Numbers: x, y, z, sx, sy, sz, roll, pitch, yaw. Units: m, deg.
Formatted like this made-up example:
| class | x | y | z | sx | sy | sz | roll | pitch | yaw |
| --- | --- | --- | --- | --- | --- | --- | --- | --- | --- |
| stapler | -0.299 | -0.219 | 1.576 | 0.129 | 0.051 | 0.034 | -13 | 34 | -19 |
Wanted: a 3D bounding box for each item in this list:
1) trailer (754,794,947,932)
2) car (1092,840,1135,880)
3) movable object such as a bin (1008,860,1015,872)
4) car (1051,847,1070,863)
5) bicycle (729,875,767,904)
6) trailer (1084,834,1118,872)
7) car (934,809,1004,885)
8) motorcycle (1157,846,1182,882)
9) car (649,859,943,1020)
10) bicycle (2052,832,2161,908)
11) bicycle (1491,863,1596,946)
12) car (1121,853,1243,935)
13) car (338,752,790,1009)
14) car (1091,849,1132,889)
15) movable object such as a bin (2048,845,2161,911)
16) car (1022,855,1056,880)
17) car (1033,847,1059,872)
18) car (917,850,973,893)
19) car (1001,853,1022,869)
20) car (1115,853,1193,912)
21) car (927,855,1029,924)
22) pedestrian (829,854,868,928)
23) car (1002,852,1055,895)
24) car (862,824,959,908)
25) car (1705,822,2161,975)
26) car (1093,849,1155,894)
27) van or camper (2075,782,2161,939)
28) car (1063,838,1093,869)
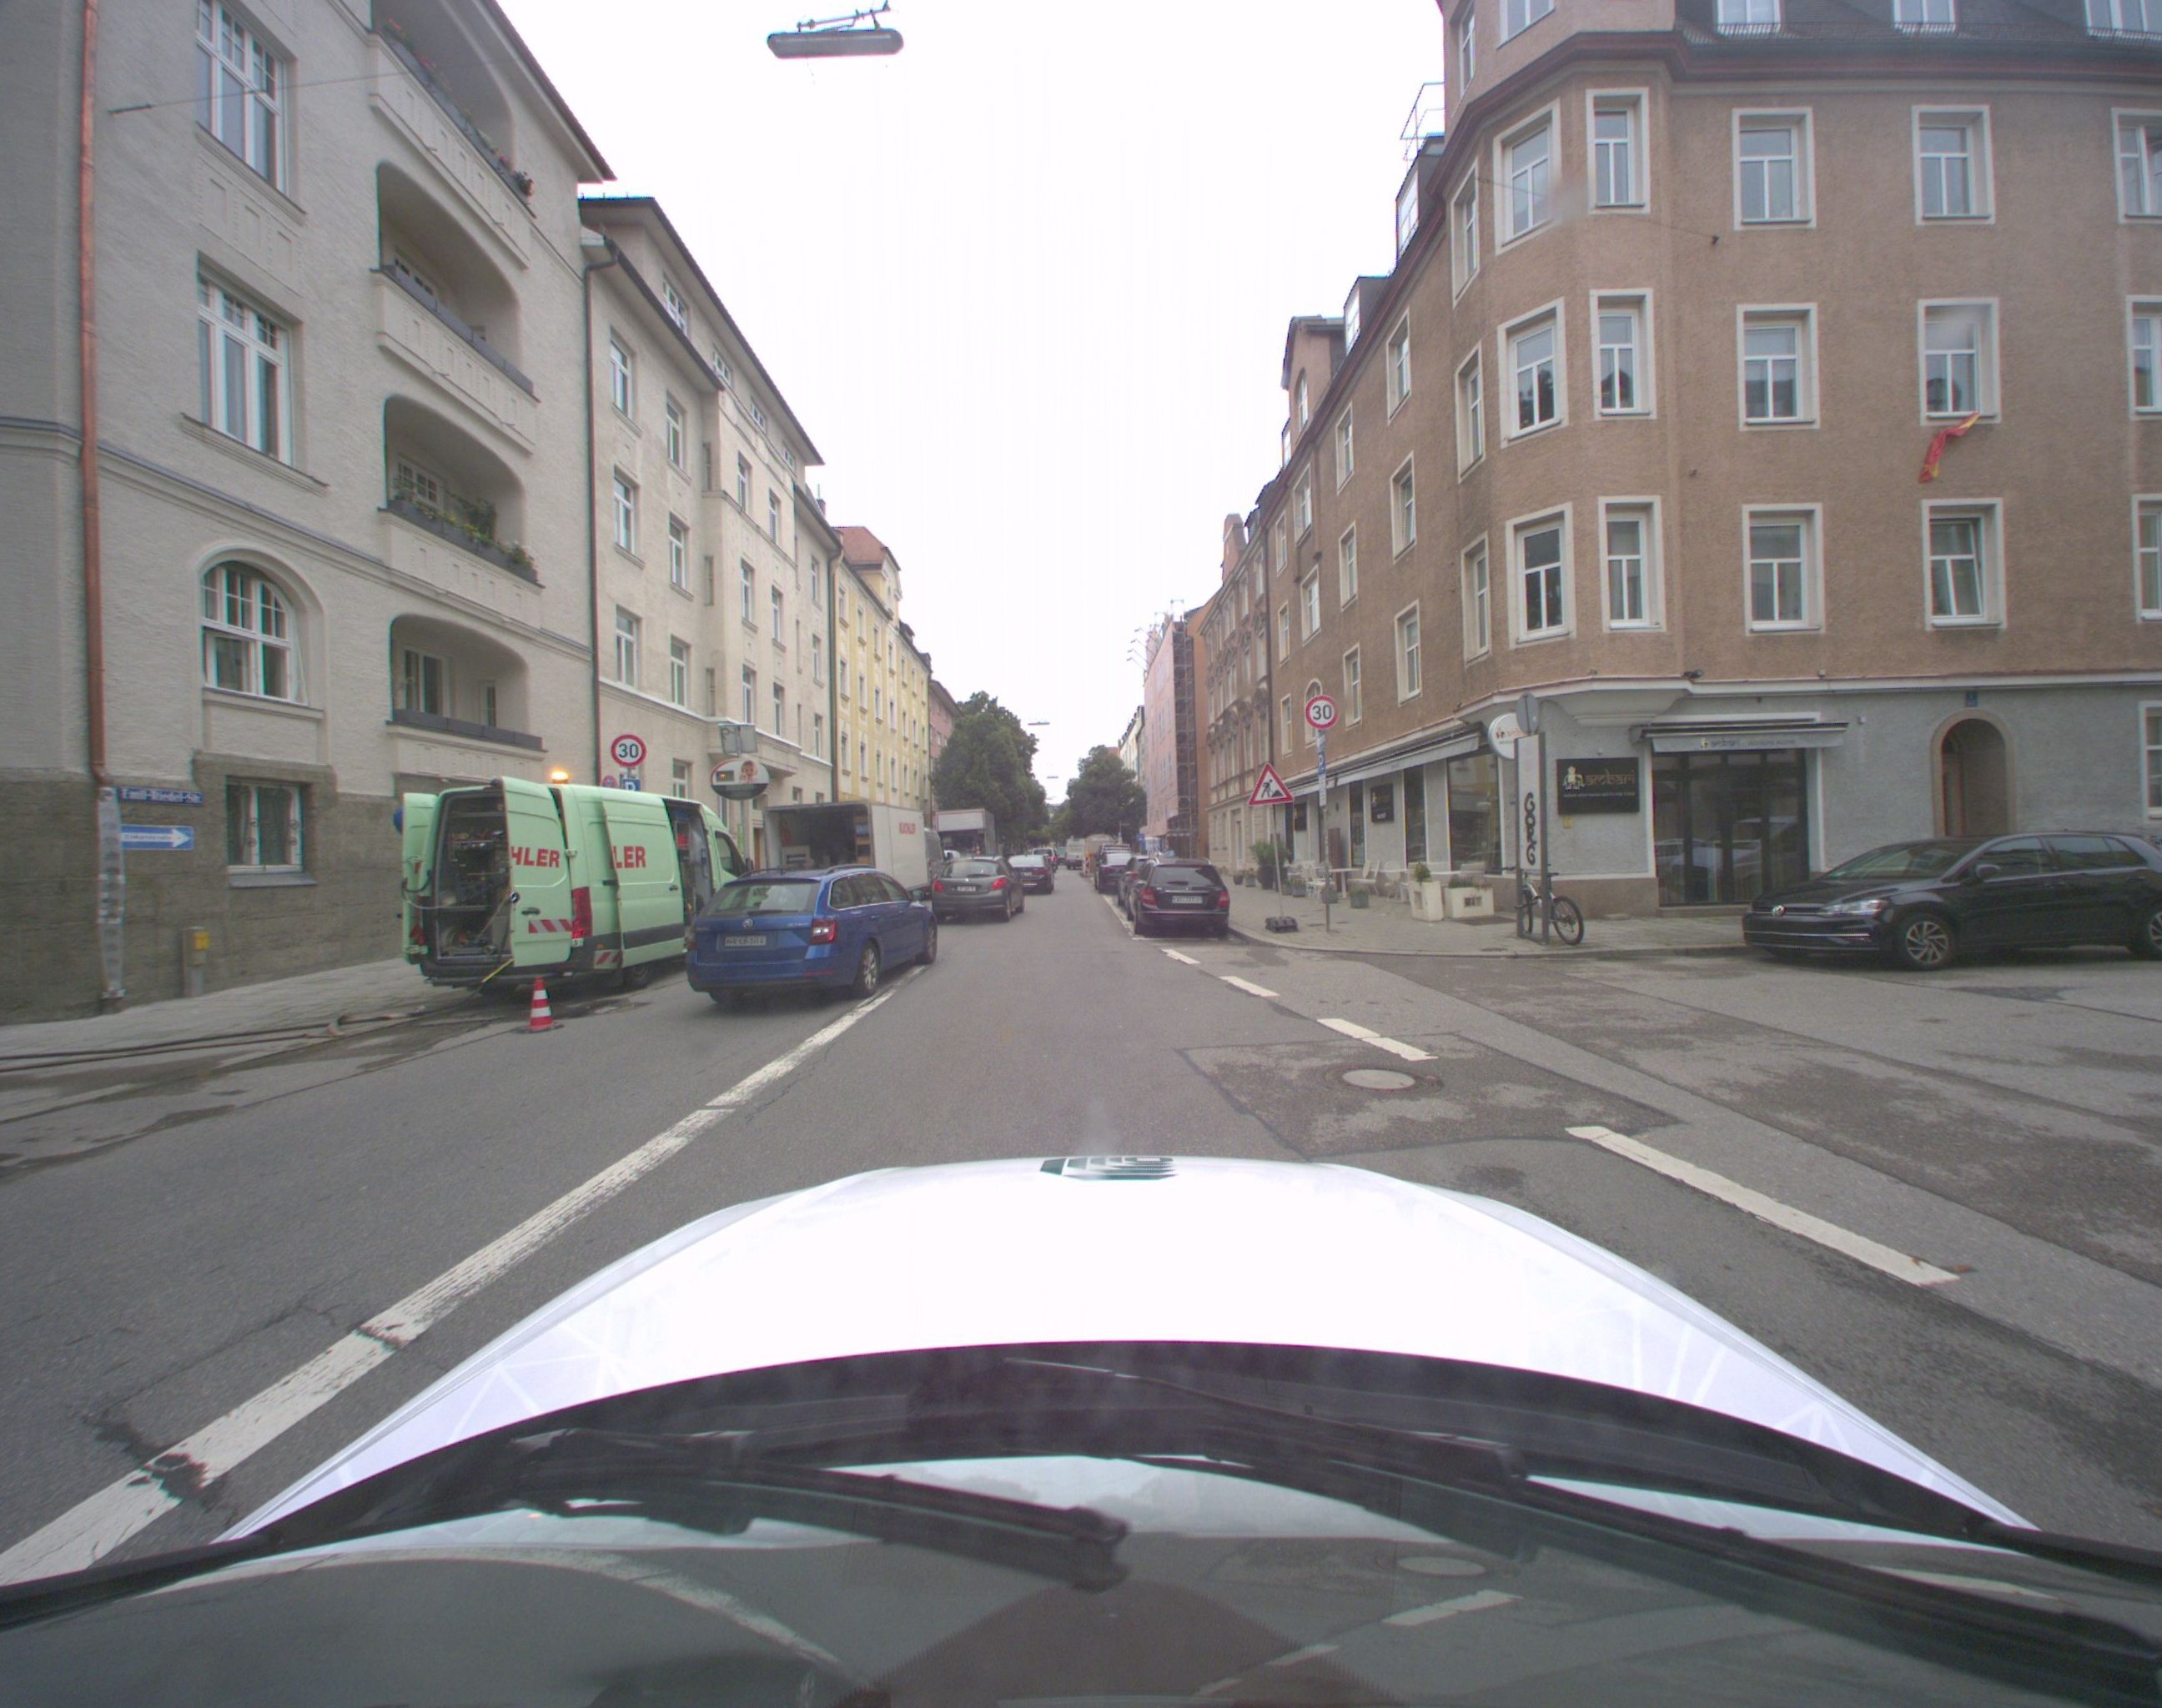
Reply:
| class | x | y | z | sx | sy | sz | roll | pitch | yaw |
| --- | --- | --- | --- | --- | --- | --- | --- | --- | --- |
| trailer | -5.965 | 0.158 | 22.673 | 2.794 | 2.968 | 7.602 | -5 | 1 | 1 |
| car | 1.647 | 0.380 | 43.108 | 2.076 | 1.921 | 5.139 | 0 | -2 | 0 |
| movable object such as a bin | -5.967 | 1.050 | 70.062 | 0.545 | 1.020 | 0.635 | -3 | 0 | -5 |
| car | -2.270 | 0.082 | 90.442 | 2.003 | 1.653 | 4.343 | 0 | 0 | -3 |
| bicycle | -11.261 | 1.175 | 27.572 | 0.413 | 0.914 | 1.758 | 1 | 0 | 4 |
| trailer | 1.539 | -0.073 | 65.273 | 2.495 | 2.840 | 6.898 | 0 | 0 | -1 |
| car | -6.153 | -0.348 | 45.937 | 2.805 | 3.817 | 8.718 | -2 | 0 | -1 |
| motorcycle | 3.833 | 0.426 | 35.566 | 0.868 | 1.505 | 1.997 | -1 | 0 | 1 |
| car | -3.092 | 0.834 | 9.925 | 1.781 | 1.460 | 4.319 | -2 | 0 | 4 |
| bicycle | 16.648 | 0.242 | 12.672 | 0.474 | 1.143 | 1.918 | -2 | 0 | -17 |
| bicycle | 6.569 | 0.678 | 11.667 | 0.494 | 1.005 | 1.804 | -4 | 1 | 2 |
| car | 1.892 | 0.701 | 16.712 | 1.841 | 1.405 | 4.786 | -1 | 0 | -1 |
| car | -6.496 | 0.253 | 11.724 | 2.134 | 2.572 | 6.793 | -1 | 0 | 0 |
| car | 1.338 | 0.645 | 37.009 | 1.688 | 1.676 | 4.407 | 1 | 0 | 0 |
| movable object such as a bin | 16.040 | 0.352 | 12.719 | 0.732 | 0.950 | 0.966 | -2 | 1 | -8 |
| car | -2.416 | 0.736 | 47.787 | 1.862 | 1.348 | 4.345 | 0 | 1 | -1 |
| car | -2.627 | 0.394 | 61.773 | 1.862 | 1.870 | 4.345 | 0 | 0 | -1 |
| car | -6.185 | 0.750 | 37.585 | 1.757 | 1.779 | 4.326 | -3 | 0 | 0 |
| car | -6.671 | 0.685 | 78.713 | 1.808 | 1.478 | 3.996 | -1 | 0 | -3 |
| car | 1.872 | 0.705 | 21.927 | 1.568 | 1.394 | 4.179 | -2 | 0 | -2 |
| car | -2.327 | 0.765 | 19.211 | 1.734 | 1.422 | 3.666 | -2 | 0 | 3 |
| pedestrian | -5.395 | 0.842 | 18.873 | 0.764 | 1.631 | 0.633 | -2 | -1 | -21 |
| car | -1.928 | 0.690 | 30.922 | 1.862 | 1.454 | 4.344 | 0 | 1 | -2 |
| car | -6.101 | 0.381 | 30.168 | 2.050 | 2.587 | 6.872 | -6 | 0 | -1 |
| car | 9.934 | 0.466 | 9.491 | 3.860 | 1.487 | 1.892 | -2 | -1 | -1 |
| car | 1.561 | 0.607 | 31.700 | 1.926 | 1.553 | 5.632 | -1 | 0 | -2 |
| van or camper | 15.650 | -0.001 | 9.797 | 4.883 | 1.919 | 1.961 | -2 | -2 | 0 |
| car | -0.214 | -0.008 | 72.309 | 2.103 | 2.664 | 5.507 | 0 | 0 | 5 |
